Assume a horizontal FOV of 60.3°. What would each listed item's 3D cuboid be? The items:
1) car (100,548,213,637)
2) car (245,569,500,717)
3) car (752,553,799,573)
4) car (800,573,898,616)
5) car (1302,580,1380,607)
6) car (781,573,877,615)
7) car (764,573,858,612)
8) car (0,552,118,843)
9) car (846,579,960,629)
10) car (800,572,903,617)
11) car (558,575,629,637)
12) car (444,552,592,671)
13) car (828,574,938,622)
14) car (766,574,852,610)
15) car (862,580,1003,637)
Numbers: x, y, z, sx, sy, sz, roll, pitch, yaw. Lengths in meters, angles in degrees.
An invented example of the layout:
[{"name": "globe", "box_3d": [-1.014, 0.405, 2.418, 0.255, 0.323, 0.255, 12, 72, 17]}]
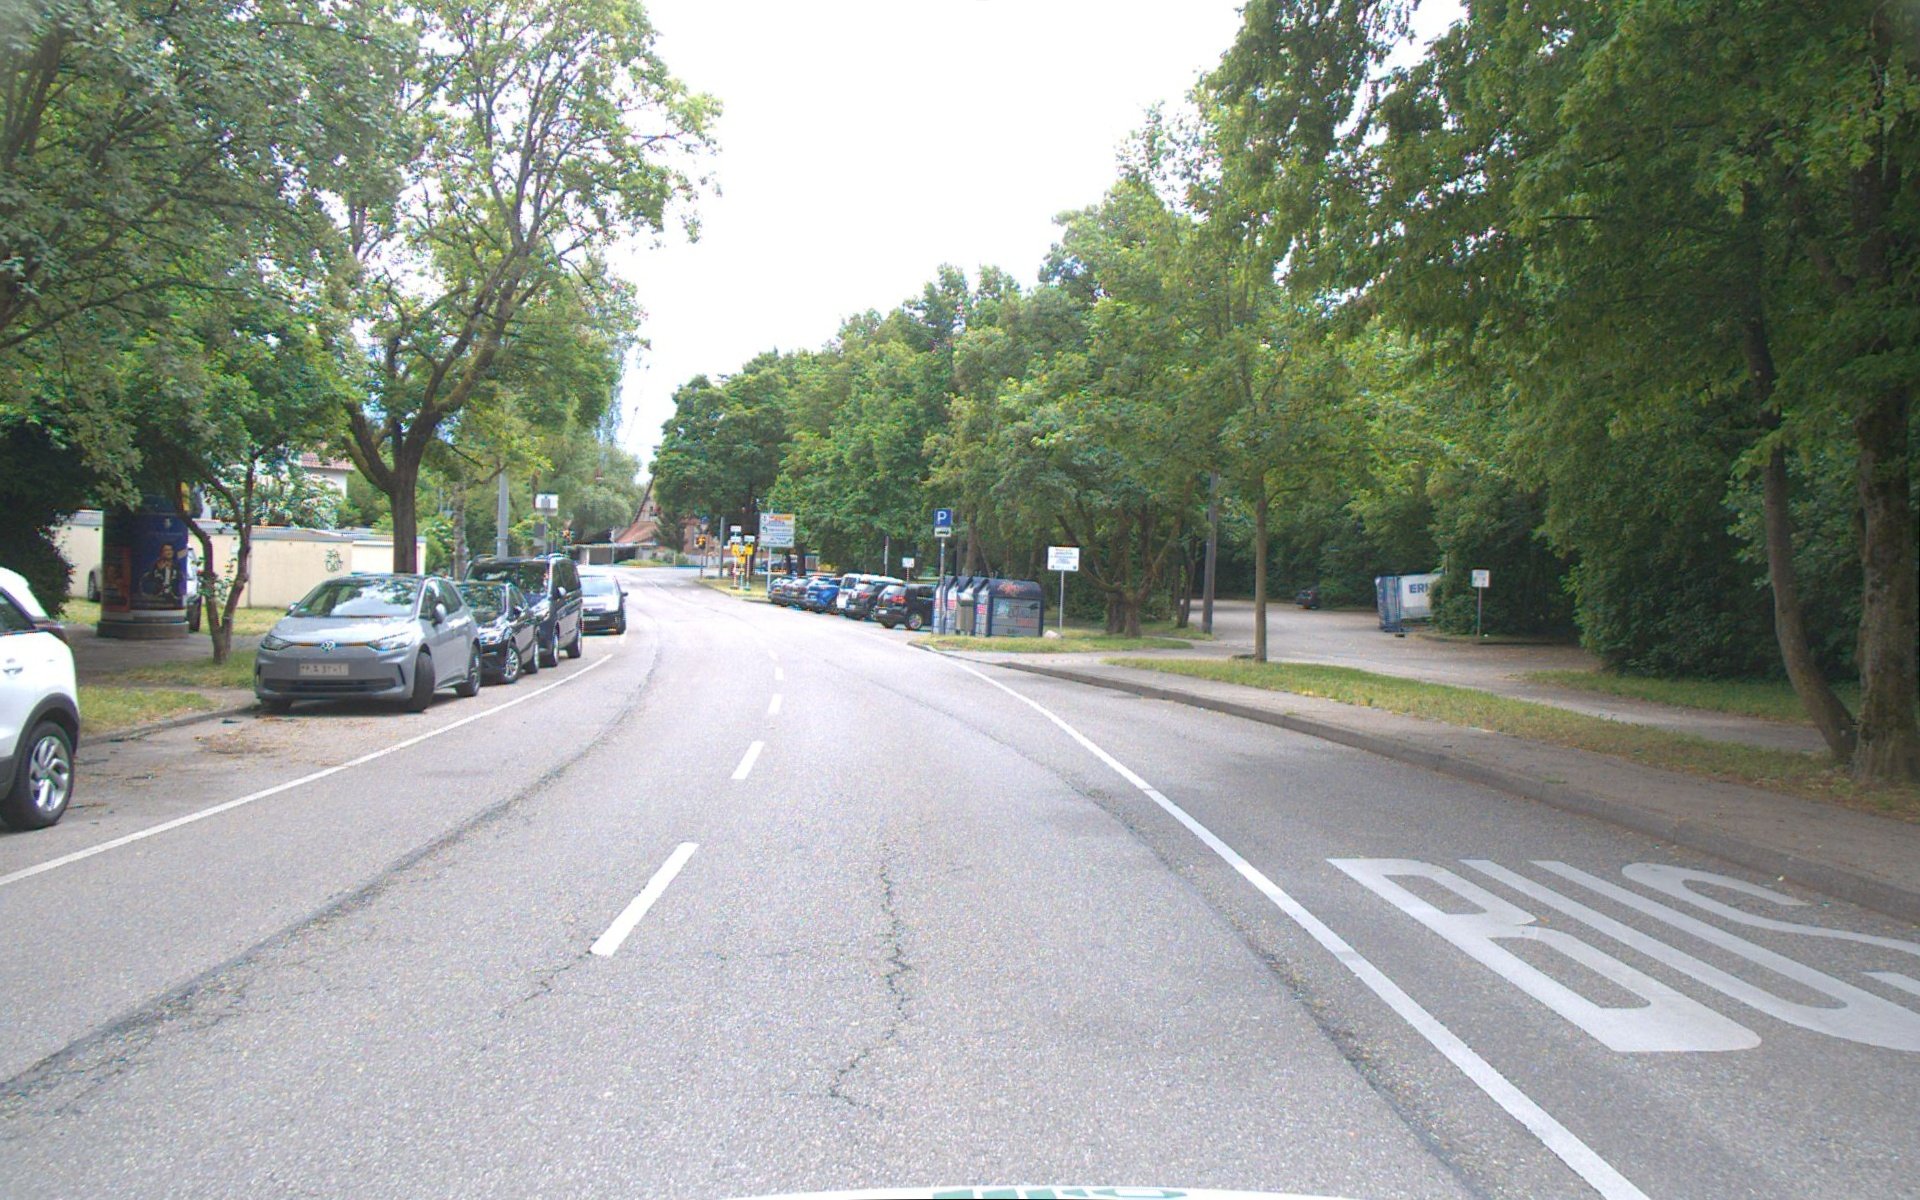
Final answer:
[{"name": "car", "box_3d": [-15.523, -0.170, 32.042, 1.751, 1.503, 3.958, 5, -1, -26]}, {"name": "car", "box_3d": [-6.903, 0.442, 19.905, 1.830, 1.565, 4.223, 1, 0, -5]}, {"name": "car", "box_3d": [-16.921, -3.388, 151.639, 3.811, 1.676, 1.977, 1, 2, -34]}, {"name": "car", "box_3d": [-4.735, -0.220, 70.740, 3.782, 1.555, 1.727, 4, -1, -32]}, {"name": "car", "box_3d": [21.498, -0.368, 93.436, 3.911, 1.434, 1.797, 1, 1, -7]}, {"name": "car", "box_3d": [-5.752, -0.257, 72.543, 3.782, 1.555, 1.727, 4, -1, -32]}, {"name": "car", "box_3d": [-6.810, -0.338, 75.526, 3.836, 1.451, 1.810, 4, -1, -32]}, {"name": "car", "box_3d": [-6.105, 0.537, 8.335, 1.700, 1.606, 4.140, 0, 1, -2]}, {"name": "car", "box_3d": [-2.077, 0.144, 60.591, 3.782, 1.493, 1.728, 4, 0, -32]}, {"name": "car", "box_3d": [-4.439, -0.220, 67.814, 3.782, 1.555, 1.727, 4, -1, -32]}, {"name": "car", "box_3d": [-10.224, 0.125, 46.333, 1.772, 1.590, 4.256, -2, 1, -11]}, {"name": "car", "box_3d": [-7.890, 0.165, 29.962, 1.822, 1.942, 5.076, 1, 0, -7]}, {"name": "car", "box_3d": [-2.925, -0.067, 63.279, 3.782, 1.750, 1.858, 1, 0, -32]}, {"name": "car", "box_3d": [-7.326, -0.371, 80.306, 3.782, 1.450, 1.727, 4, -1, -32]}, {"name": "car", "box_3d": [-0.867, 0.259, 52.421, 3.949, 1.438, 2.036, 4, 1, -32]}]
